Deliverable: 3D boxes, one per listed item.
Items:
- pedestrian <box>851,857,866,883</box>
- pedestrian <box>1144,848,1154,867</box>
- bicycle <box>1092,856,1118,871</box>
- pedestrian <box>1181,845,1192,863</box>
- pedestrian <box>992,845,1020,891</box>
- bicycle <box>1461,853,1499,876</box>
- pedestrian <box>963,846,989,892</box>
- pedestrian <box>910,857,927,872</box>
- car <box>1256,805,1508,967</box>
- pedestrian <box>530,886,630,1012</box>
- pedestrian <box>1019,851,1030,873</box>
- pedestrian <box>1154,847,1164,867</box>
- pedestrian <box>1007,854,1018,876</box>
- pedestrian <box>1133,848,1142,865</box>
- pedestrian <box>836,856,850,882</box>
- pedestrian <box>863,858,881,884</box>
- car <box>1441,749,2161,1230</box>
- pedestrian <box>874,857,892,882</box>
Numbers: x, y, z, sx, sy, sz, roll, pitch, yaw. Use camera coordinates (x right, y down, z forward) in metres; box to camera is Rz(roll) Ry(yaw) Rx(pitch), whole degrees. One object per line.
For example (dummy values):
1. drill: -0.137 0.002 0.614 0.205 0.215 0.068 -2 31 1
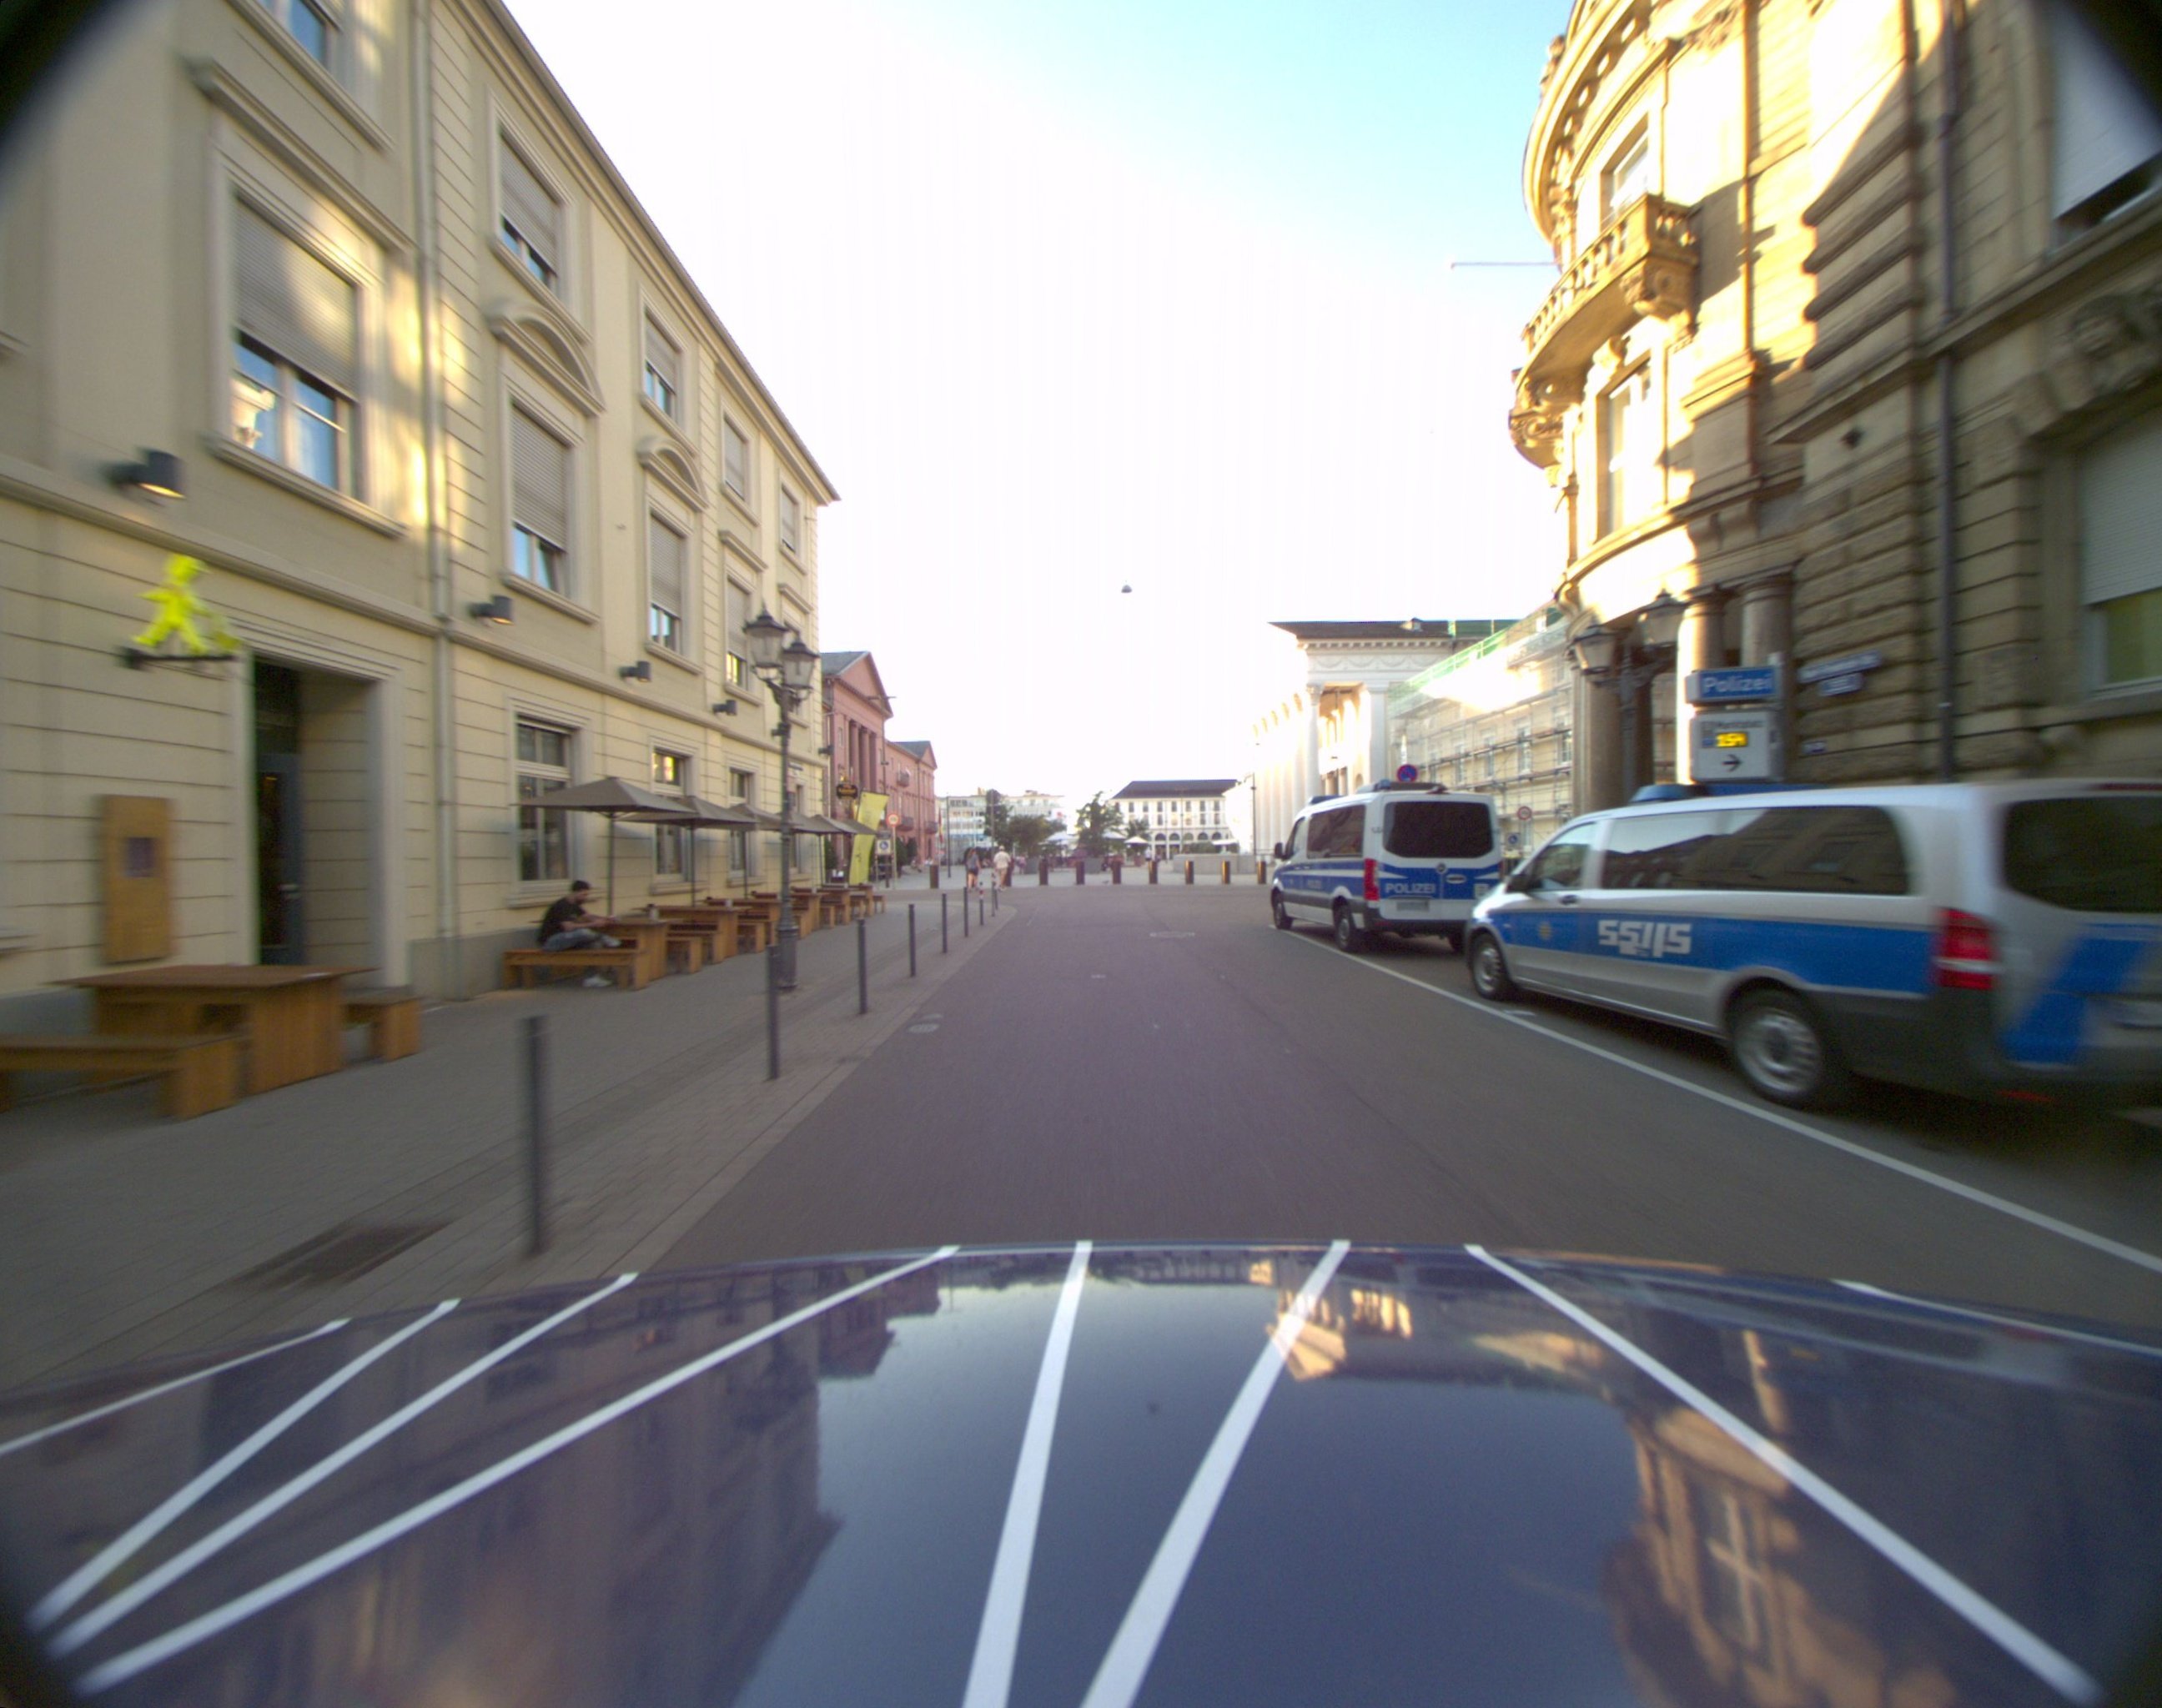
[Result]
1. pedestrian: -12.584 0.873 42.952 0.585 1.439 0.829 -1 1 -29
2. pedestrian: 6.160 0.297 68.802 0.856 1.720 0.881 -1 1 3
3. bicycle: 1.737 0.690 55.456 1.683 1.115 0.846 -1 1 34
4. pedestrian: 11.145 0.032 80.058 1.091 1.900 0.881 -1 1 3
5. pedestrian: -2.895 0.537 29.360 0.667 1.720 0.767 0 1 43
6. bicycle: 20.564 0.530 39.192 0.635 1.105 1.849 -1 1 -18
7. pedestrian: -4.020 0.566 29.053 0.607 1.720 0.719 0 1 43
8. pedestrian: -14.555 0.920 67.941 1.405 1.255 1.326 -1 1 -13
9. car: 4.693 0.417 12.907 1.999 2.158 5.205 -1 0 -3
10. pedestrian: -5.849 1.075 8.919 0.777 1.351 0.723 -1 1 -16
11. pedestrian: -4.036 0.562 54.362 0.684 1.550 0.652 -1 1 -2
12. pedestrian: 7.011 0.270 68.219 0.856 1.720 0.881 -1 1 3
13. pedestrian: -4.895 0.808 54.270 0.684 1.557 0.652 -1 1 -2
14. pedestrian: 5.523 0.229 74.682 0.856 1.720 0.881 -1 1 3
15. pedestrian: -13.276 0.833 42.408 0.585 1.439 0.829 -1 1 -29
16. pedestrian: -11.987 0.970 43.590 0.828 1.439 0.585 0 1 33
17. car: 4.995 0.554 5.867 1.998 2.075 5.206 0 1 0
18. pedestrian: -11.540 0.899 44.371 0.828 1.439 0.585 0 1 31
